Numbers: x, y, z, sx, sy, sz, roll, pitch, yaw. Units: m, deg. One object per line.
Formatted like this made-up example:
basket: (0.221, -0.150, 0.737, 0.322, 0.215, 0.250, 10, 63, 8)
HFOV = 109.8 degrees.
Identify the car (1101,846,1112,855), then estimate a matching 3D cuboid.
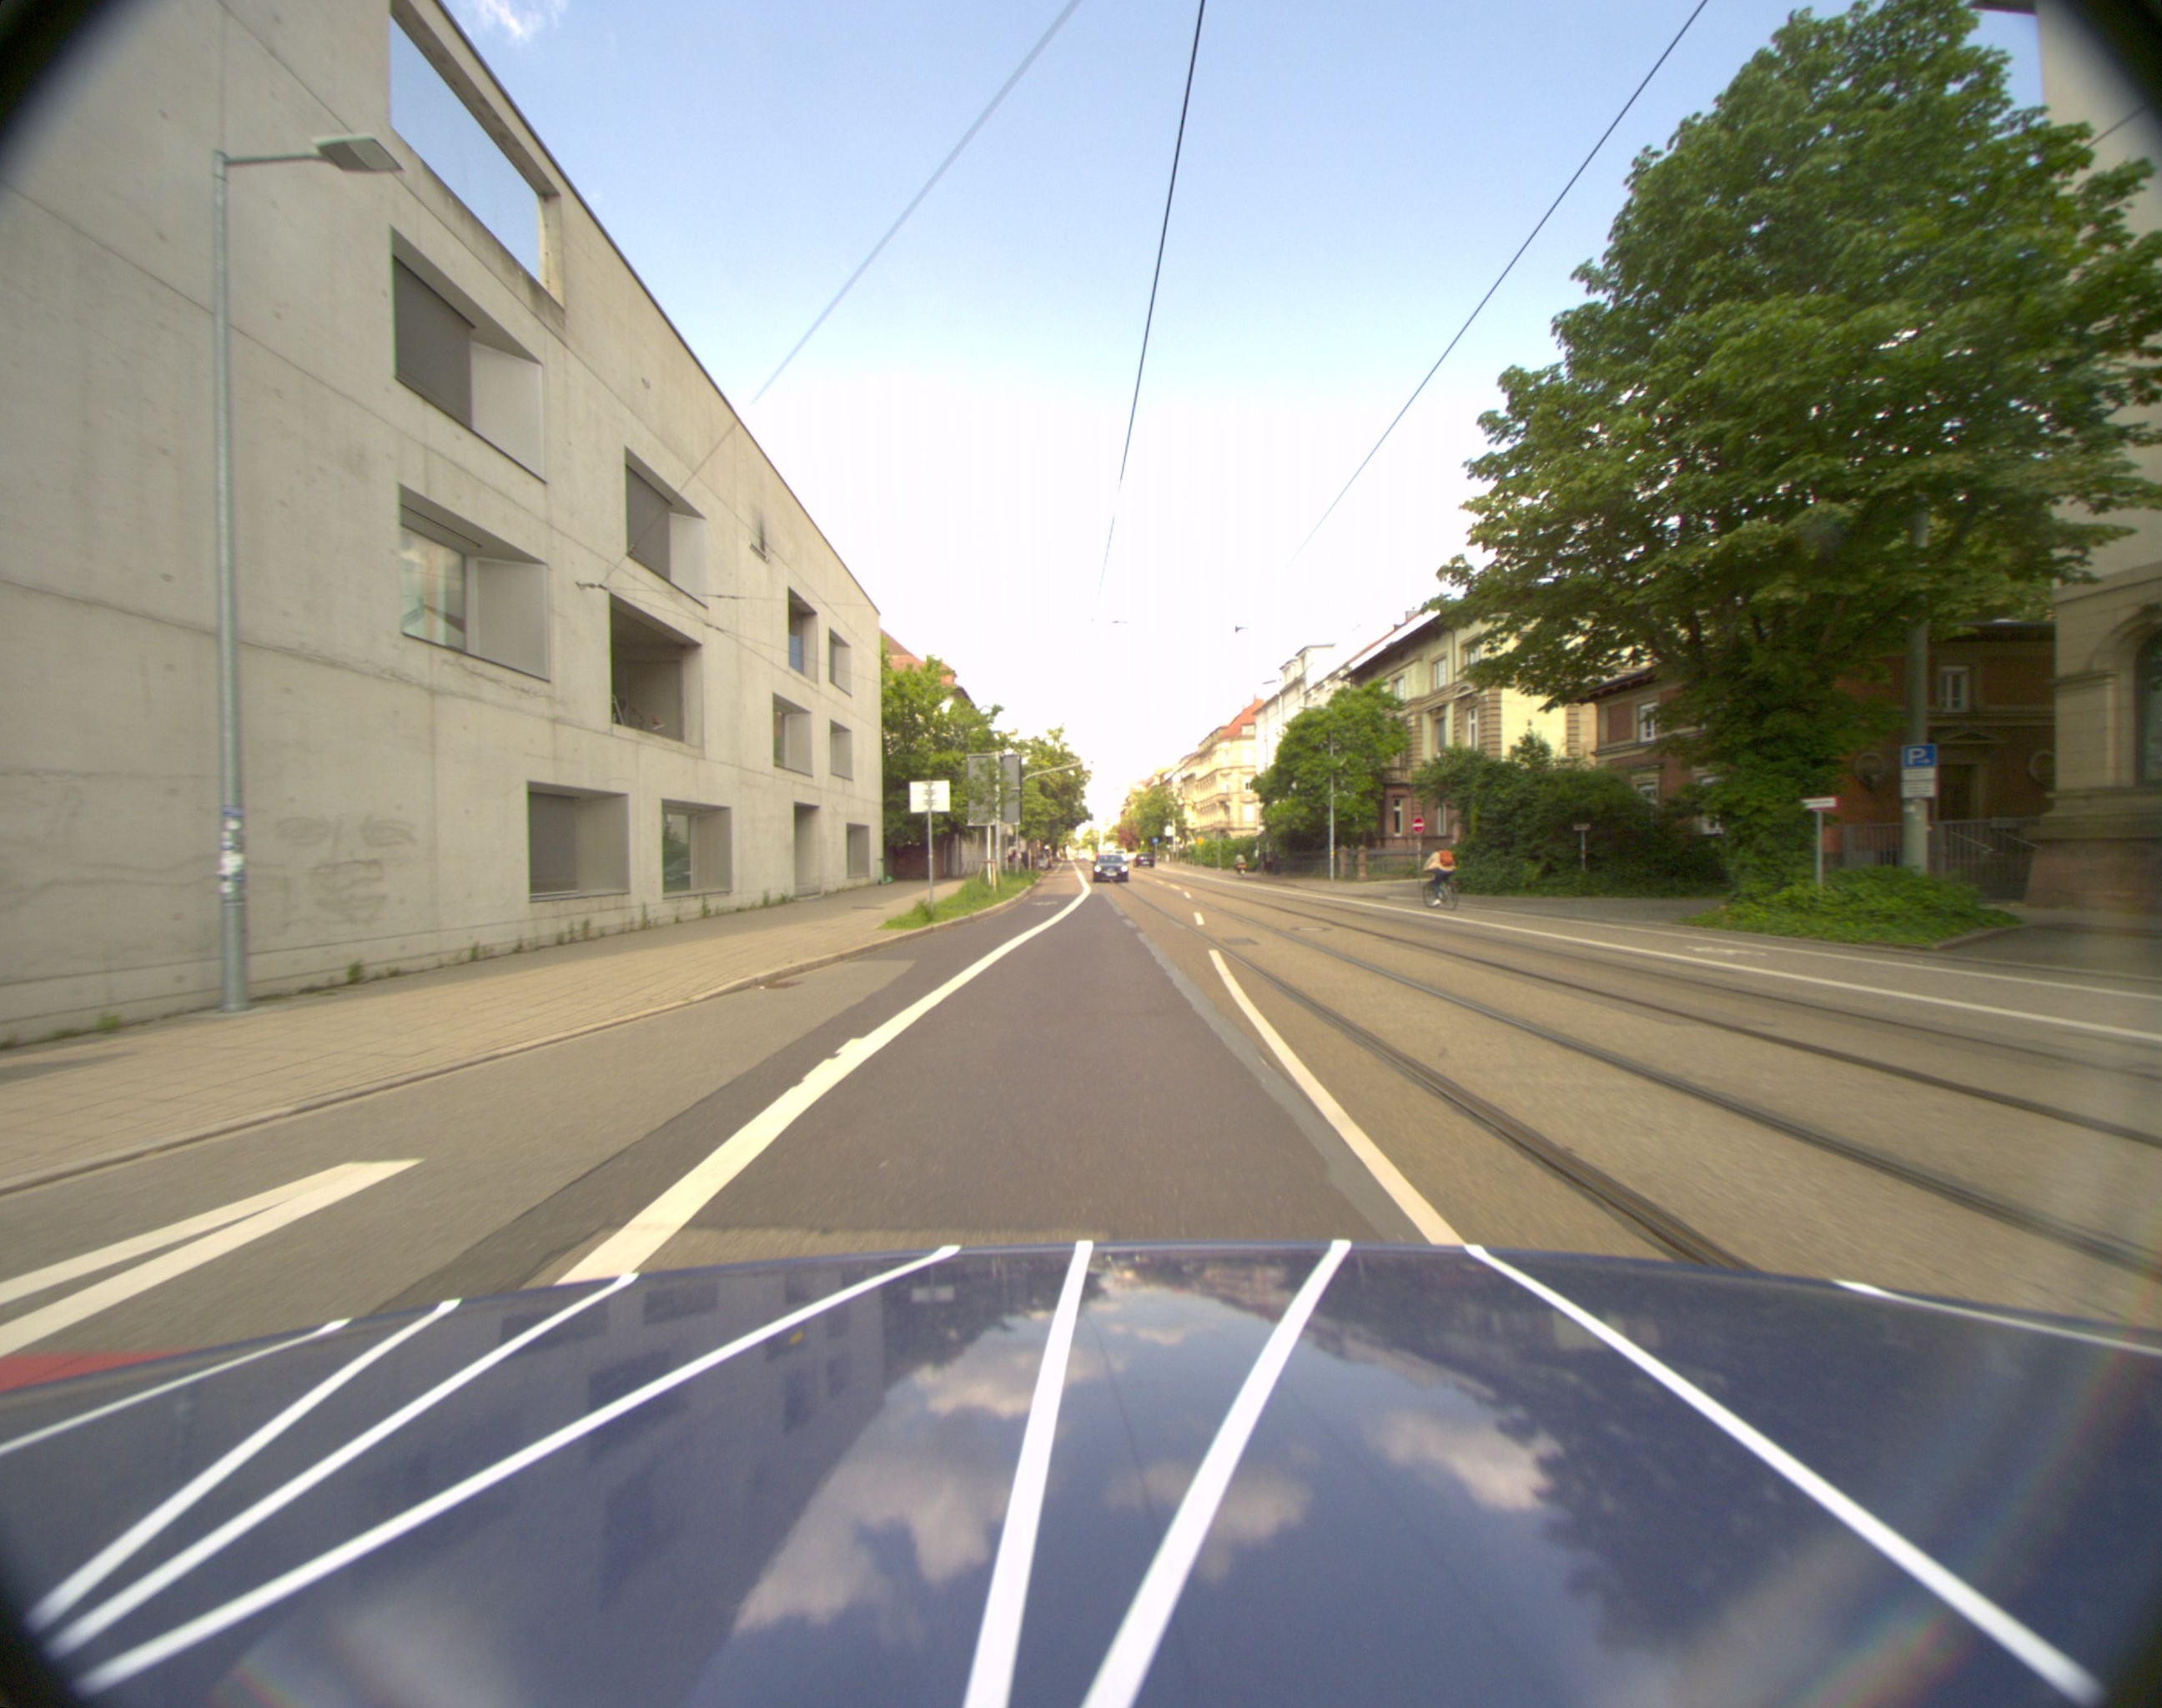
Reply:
car: (4.725, -0.625, 138.905, 1.732, 1.531, 4.275, 0, 0, -2)

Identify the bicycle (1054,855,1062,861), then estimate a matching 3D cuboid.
bicycle: (-3.613, 0.640, 121.508, 1.271, 1.060, 0.478, -1, 1, -2)

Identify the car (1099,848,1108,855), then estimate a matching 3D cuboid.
car: (4.549, -0.495, 153.206, 1.633, 1.399, 4.128, -1, 0, -1)

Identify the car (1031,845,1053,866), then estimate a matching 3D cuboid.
car: (-3.672, 0.119, 72.670, 1.900, 1.929, 4.949, 0, 0, -1)

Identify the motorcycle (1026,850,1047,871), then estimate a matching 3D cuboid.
motorcycle: (-3.338, 0.460, 56.845, 0.982, 1.533, 2.442, -1, 1, 10)

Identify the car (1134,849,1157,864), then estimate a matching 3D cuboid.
car: (6.055, 0.208, 71.833, 1.693, 1.394, 3.929, 2, 1, -1)

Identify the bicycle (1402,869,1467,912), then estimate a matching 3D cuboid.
bicycle: (9.093, 0.926, 19.612, 0.701, 1.011, 1.818, 0, 0, -4)

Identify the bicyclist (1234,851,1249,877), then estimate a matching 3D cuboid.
bicyclist: (9.523, 0.574, 45.066, 0.600, 1.484, 0.882, 5, 0, 2)

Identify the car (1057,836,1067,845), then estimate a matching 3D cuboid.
car: (-3.132, -2.214, 126.062, 1.589, 1.436, 3.897, -1, 0, -1)

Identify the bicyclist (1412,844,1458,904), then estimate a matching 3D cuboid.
bicyclist: (9.099, 0.497, 19.557, 0.693, 1.510, 0.867, 1, 1, -4)

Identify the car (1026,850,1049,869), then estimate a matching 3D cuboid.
car: (-3.636, 0.450, 63.930, 1.711, 1.490, 4.788, 0, 0, -1)

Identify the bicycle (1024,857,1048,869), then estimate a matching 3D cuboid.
bicycle: (-3.571, 0.718, 60.331, 1.780, 0.897, 0.692, 0, 1, 2)

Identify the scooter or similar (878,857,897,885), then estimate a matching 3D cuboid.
scooter or similar: (-8.451, 0.717, 33.189, 0.323, 1.174, 1.149, -1, 1, 12)

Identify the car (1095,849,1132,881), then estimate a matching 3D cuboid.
car: (1.655, 0.553, 40.129, 1.693, 1.568, 4.156, -1, 0, -1)

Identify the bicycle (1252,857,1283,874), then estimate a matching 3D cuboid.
bicycle: (11.887, 0.724, 48.522, 1.145, 0.903, 2.988, -4, 0, -1)

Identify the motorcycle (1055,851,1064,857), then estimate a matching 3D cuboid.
motorcycle: (-4.883, -0.022, 171.539, 0.812, 1.485, 2.064, -1, 1, -45)

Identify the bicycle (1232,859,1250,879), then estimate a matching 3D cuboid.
bicycle: (9.501, 0.858, 45.147, 0.604, 1.091, 2.023, 5, 0, 2)

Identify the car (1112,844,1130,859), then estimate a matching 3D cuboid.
car: (5.457, -0.364, 103.596, 1.903, 1.896, 5.382, -1, 0, -2)
